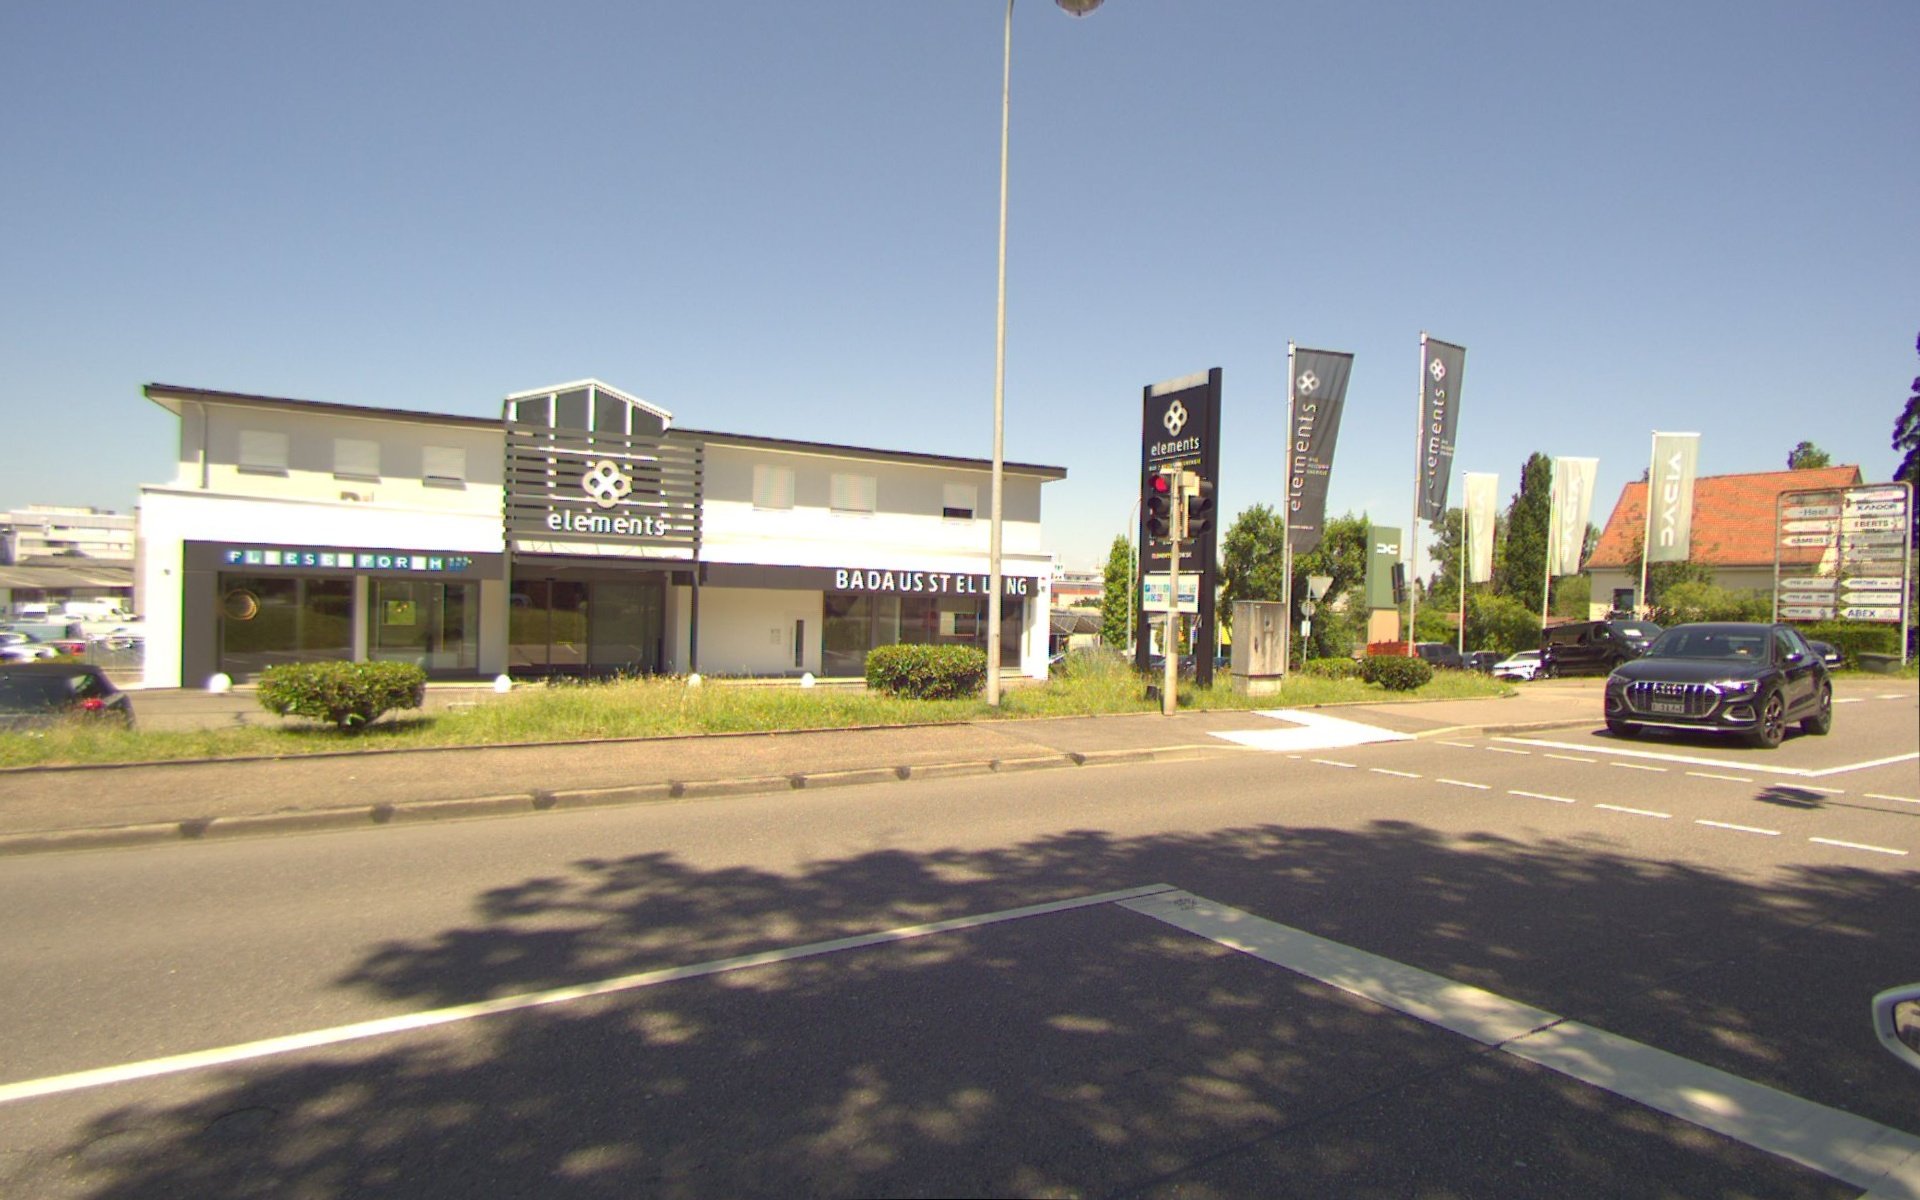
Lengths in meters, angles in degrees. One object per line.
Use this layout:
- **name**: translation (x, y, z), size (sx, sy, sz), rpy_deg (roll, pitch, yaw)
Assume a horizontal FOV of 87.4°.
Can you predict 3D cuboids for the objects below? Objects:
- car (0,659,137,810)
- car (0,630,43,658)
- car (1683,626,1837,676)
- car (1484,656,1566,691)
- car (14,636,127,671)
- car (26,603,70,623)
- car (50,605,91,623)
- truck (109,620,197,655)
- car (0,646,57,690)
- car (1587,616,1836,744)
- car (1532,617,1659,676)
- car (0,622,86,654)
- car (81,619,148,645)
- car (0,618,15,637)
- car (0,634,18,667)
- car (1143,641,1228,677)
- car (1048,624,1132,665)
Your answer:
- **car**: translation (-11.595, 1.535, 12.153), size (1.756, 1.442, 3.327), rpy_deg (1, 0, -26)
- **car**: translation (-54.678, 2.456, 56.693), size (3.953, 1.494, 1.742), rpy_deg (2, 0, -30)
- **car**: translation (24.794, 1.541, 31.210), size (1.586, 1.446, 3.466), rpy_deg (2, -2, -36)
- **car**: translation (23.531, 3.035, 41.825), size (3.211, 1.242, 1.735), rpy_deg (1, 0, -35)
- **car**: translation (-44.815, 2.698, 50.721), size (3.953, 1.657, 1.835), rpy_deg (2, -1, -30)
- **car**: translation (-90.192, 1.294, 99.365), size (1.972, 1.853, 3.977), rpy_deg (2, 0, -23)
- **car**: translation (-84.611, 1.296, 95.579), size (1.975, 1.617, 3.972), rpy_deg (1, -1, -27)
- **truck**: translation (-49.469, 2.328, 61.694), size (3.938, 2.003, 1.672), rpy_deg (2, 0, -31)
- **car**: translation (-40.996, 2.849, 42.529), size (3.773, 1.750, 1.738), rpy_deg (2, 0, -30)
- **car**: translation (10.745, 1.067, 14.265), size (4.272, 1.546, 1.907), rpy_deg (3, -3, -40)
- **car**: translation (20.515, 1.470, 32.476), size (1.561, 1.736, 3.119), rpy_deg (2, 0, -40)
- **car**: translation (-54.980, 2.273, 59.870), size (3.953, 1.839, 1.984), rpy_deg (2, -1, -30)
- **car**: translation (-55.777, 2.118, 66.355), size (3.090, 1.553, 1.672), rpy_deg (2, 0, -30)
- **car**: translation (-73.464, 2.031, 75.546), size (3.090, 1.403, 1.672), rpy_deg (2, 0, -30)
- **car**: translation (-52.513, 2.639, 52.810), size (3.953, 1.627, 1.823), rpy_deg (2, 0, -30)
- **car**: translation (10.752, 2.793, 48.109), size (1.736, 1.432, 3.967), rpy_deg (2, 0, -30)
- **car**: translation (6.165, 2.115, 48.166), size (1.862, 1.740, 4.279), rpy_deg (2, 0, -28)
